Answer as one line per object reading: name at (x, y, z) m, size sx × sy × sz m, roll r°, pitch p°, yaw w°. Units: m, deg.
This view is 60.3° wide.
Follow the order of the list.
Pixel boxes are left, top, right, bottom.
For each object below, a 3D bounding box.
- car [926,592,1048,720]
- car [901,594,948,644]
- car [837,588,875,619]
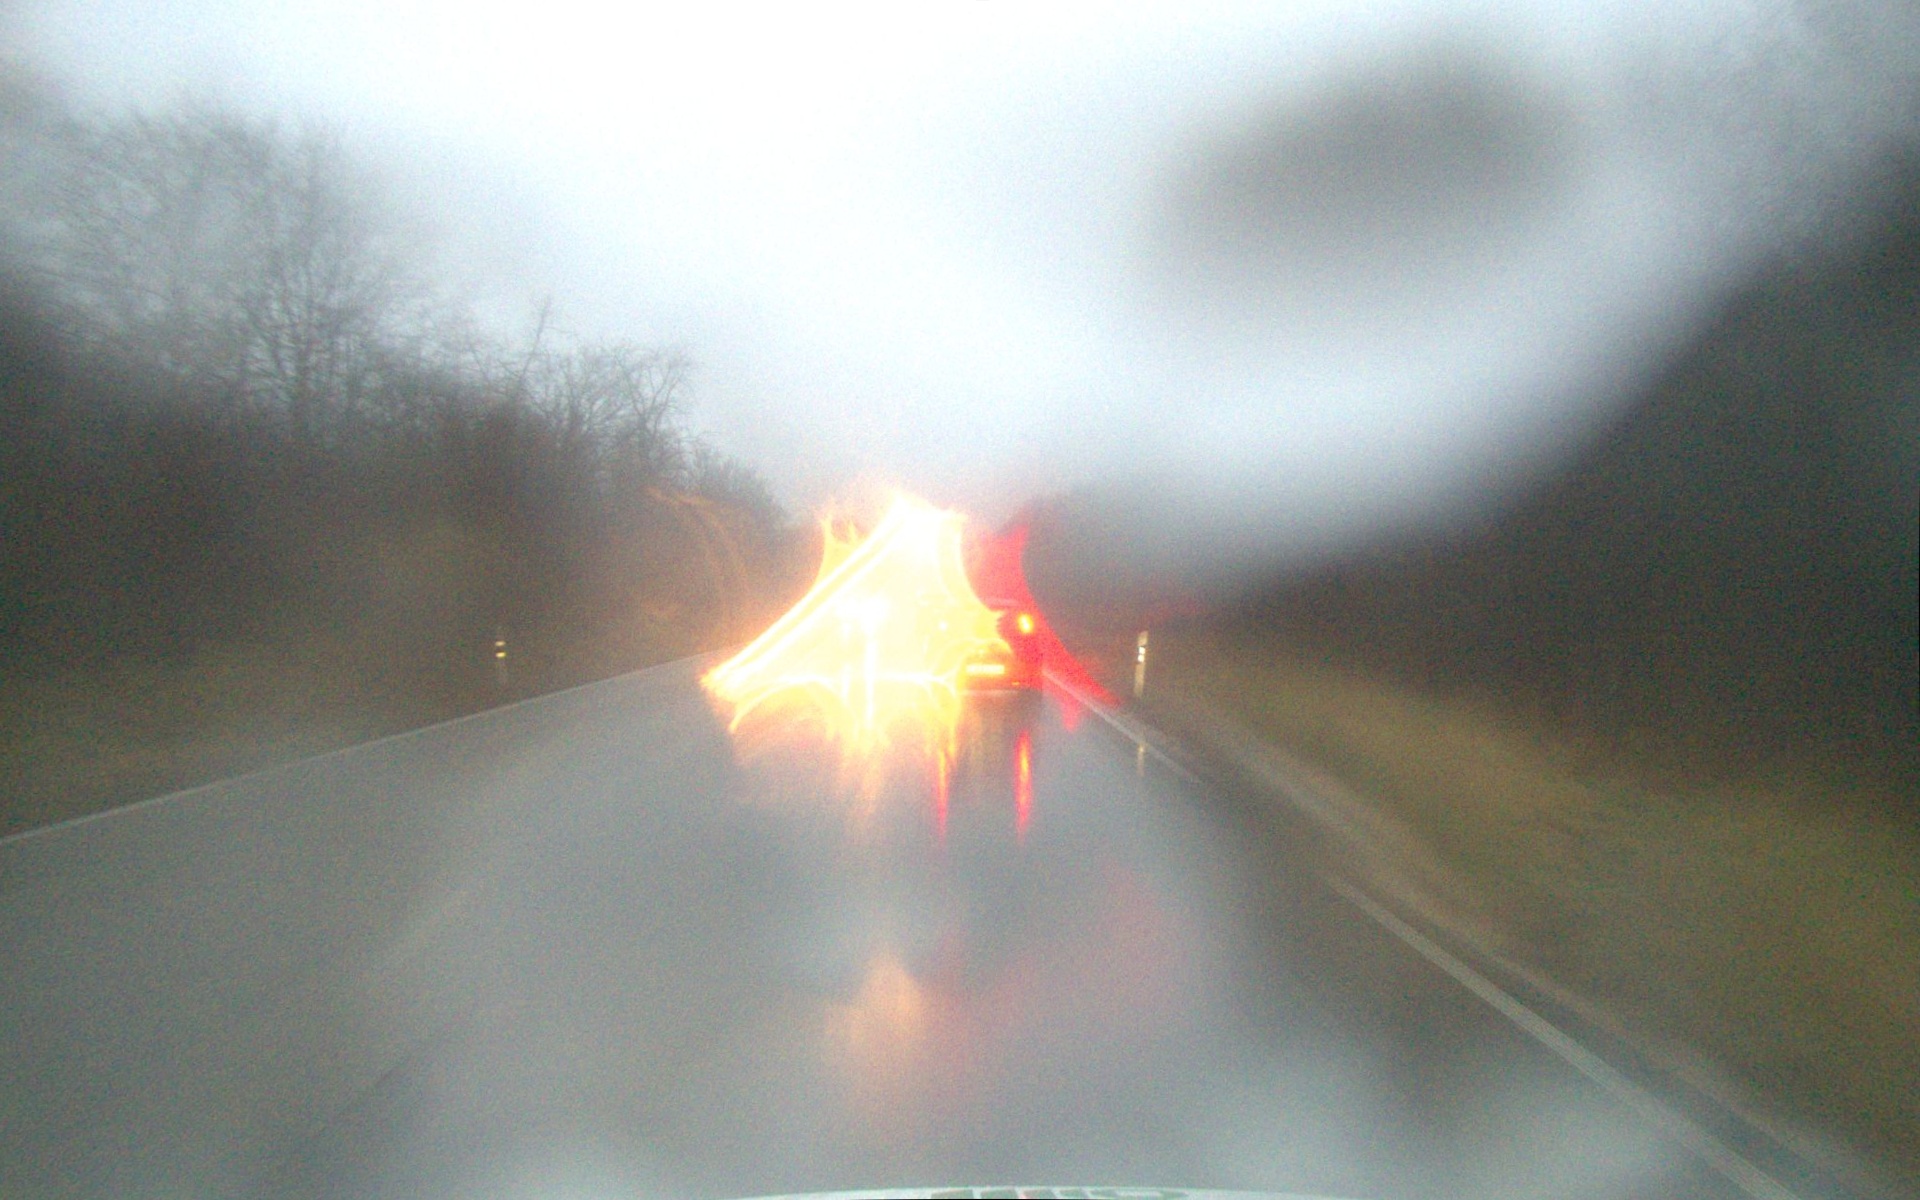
car at (0.340, 0.756, 24.120) m, size 1.614 × 1.701 × 3.513 m, roll 1°, pitch 0°, yaw -1°
car at (-1.328, 0.698, 62.508) m, size 1.698 × 1.810 × 3.999 m, roll 1°, pitch 0°, yaw -1°
car at (-5.342, 0.166, 85.382) m, size 1.664 × 1.522 × 5.663 m, roll 1°, pitch 0°, yaw -1°
